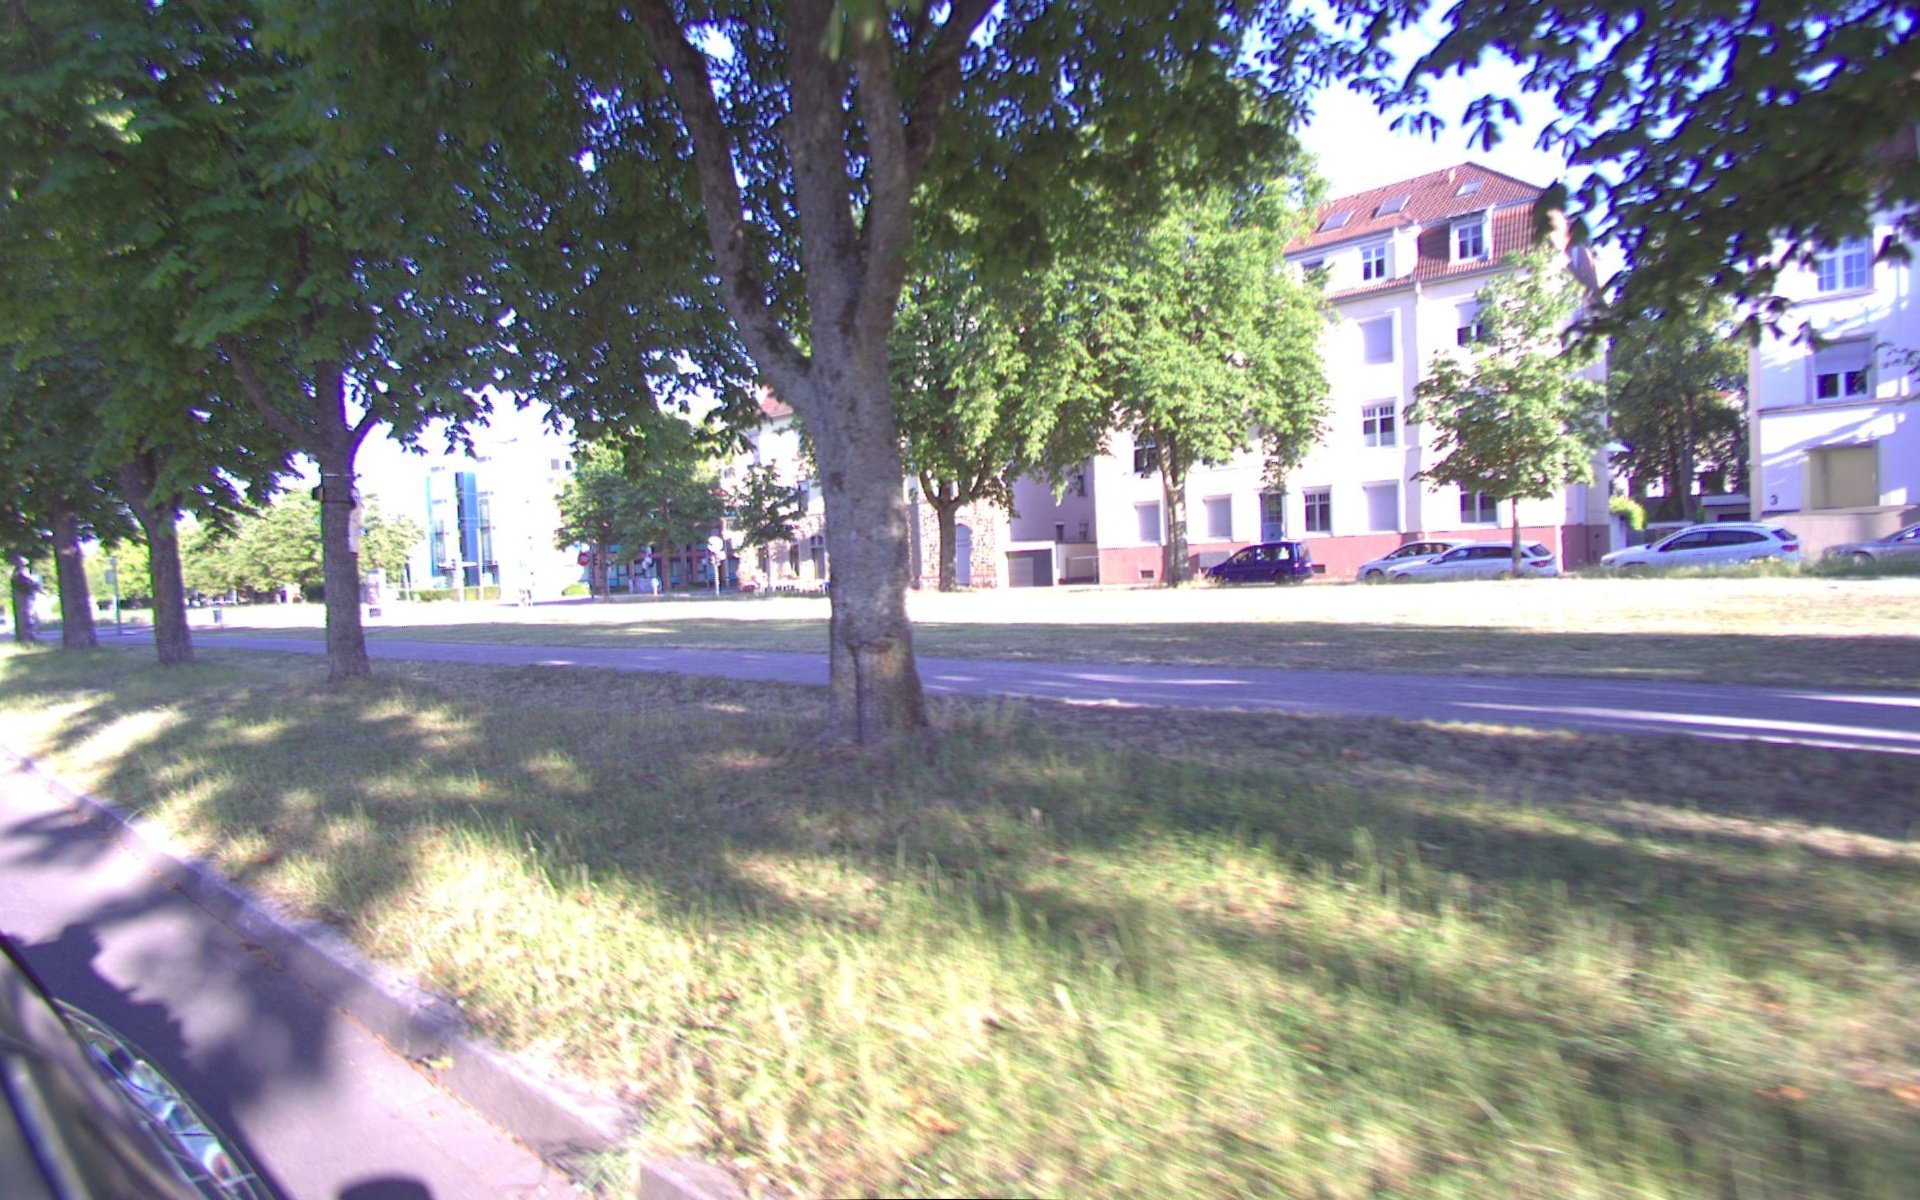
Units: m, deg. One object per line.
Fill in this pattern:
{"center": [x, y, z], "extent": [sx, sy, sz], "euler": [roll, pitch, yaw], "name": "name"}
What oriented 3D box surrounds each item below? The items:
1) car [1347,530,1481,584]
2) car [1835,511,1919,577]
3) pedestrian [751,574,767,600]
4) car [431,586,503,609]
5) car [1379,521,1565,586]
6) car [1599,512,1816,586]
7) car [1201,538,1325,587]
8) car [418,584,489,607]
{"center": [16.478, -1.547, 36.831], "extent": [4.000, 1.670, 1.973], "euler": [0, 6, 43], "name": "car"}
{"center": [26.874, -1.599, 27.637], "extent": [4.473, 1.653, 1.824], "euler": [-2, 4, 41], "name": "car"}
{"center": [-12.943, -0.861, 65.286], "extent": [0.682, 1.636, 0.610], "euler": [-1, 4, 39], "name": "pedestrian"}
{"center": [-42.264, -0.229, 86.799], "extent": [1.997, 1.684, 5.158], "euler": [-1, 3, 38], "name": "car"}
{"center": [15.237, -1.373, 30.252], "extent": [4.570, 1.670, 1.973], "euler": [0, 5, 43], "name": "car"}
{"center": [19.548, -1.317, 26.609], "extent": [4.415, 1.565, 1.779], "euler": [-2, 4, 40], "name": "car"}
{"center": [12.186, -1.497, 40.851], "extent": [4.311, 1.748, 1.973], "euler": [0, 5, 43], "name": "car"}
{"center": [-44.019, -0.396, 88.114], "extent": [1.963, 1.683, 5.163], "euler": [0, 4, 35], "name": "car"}
